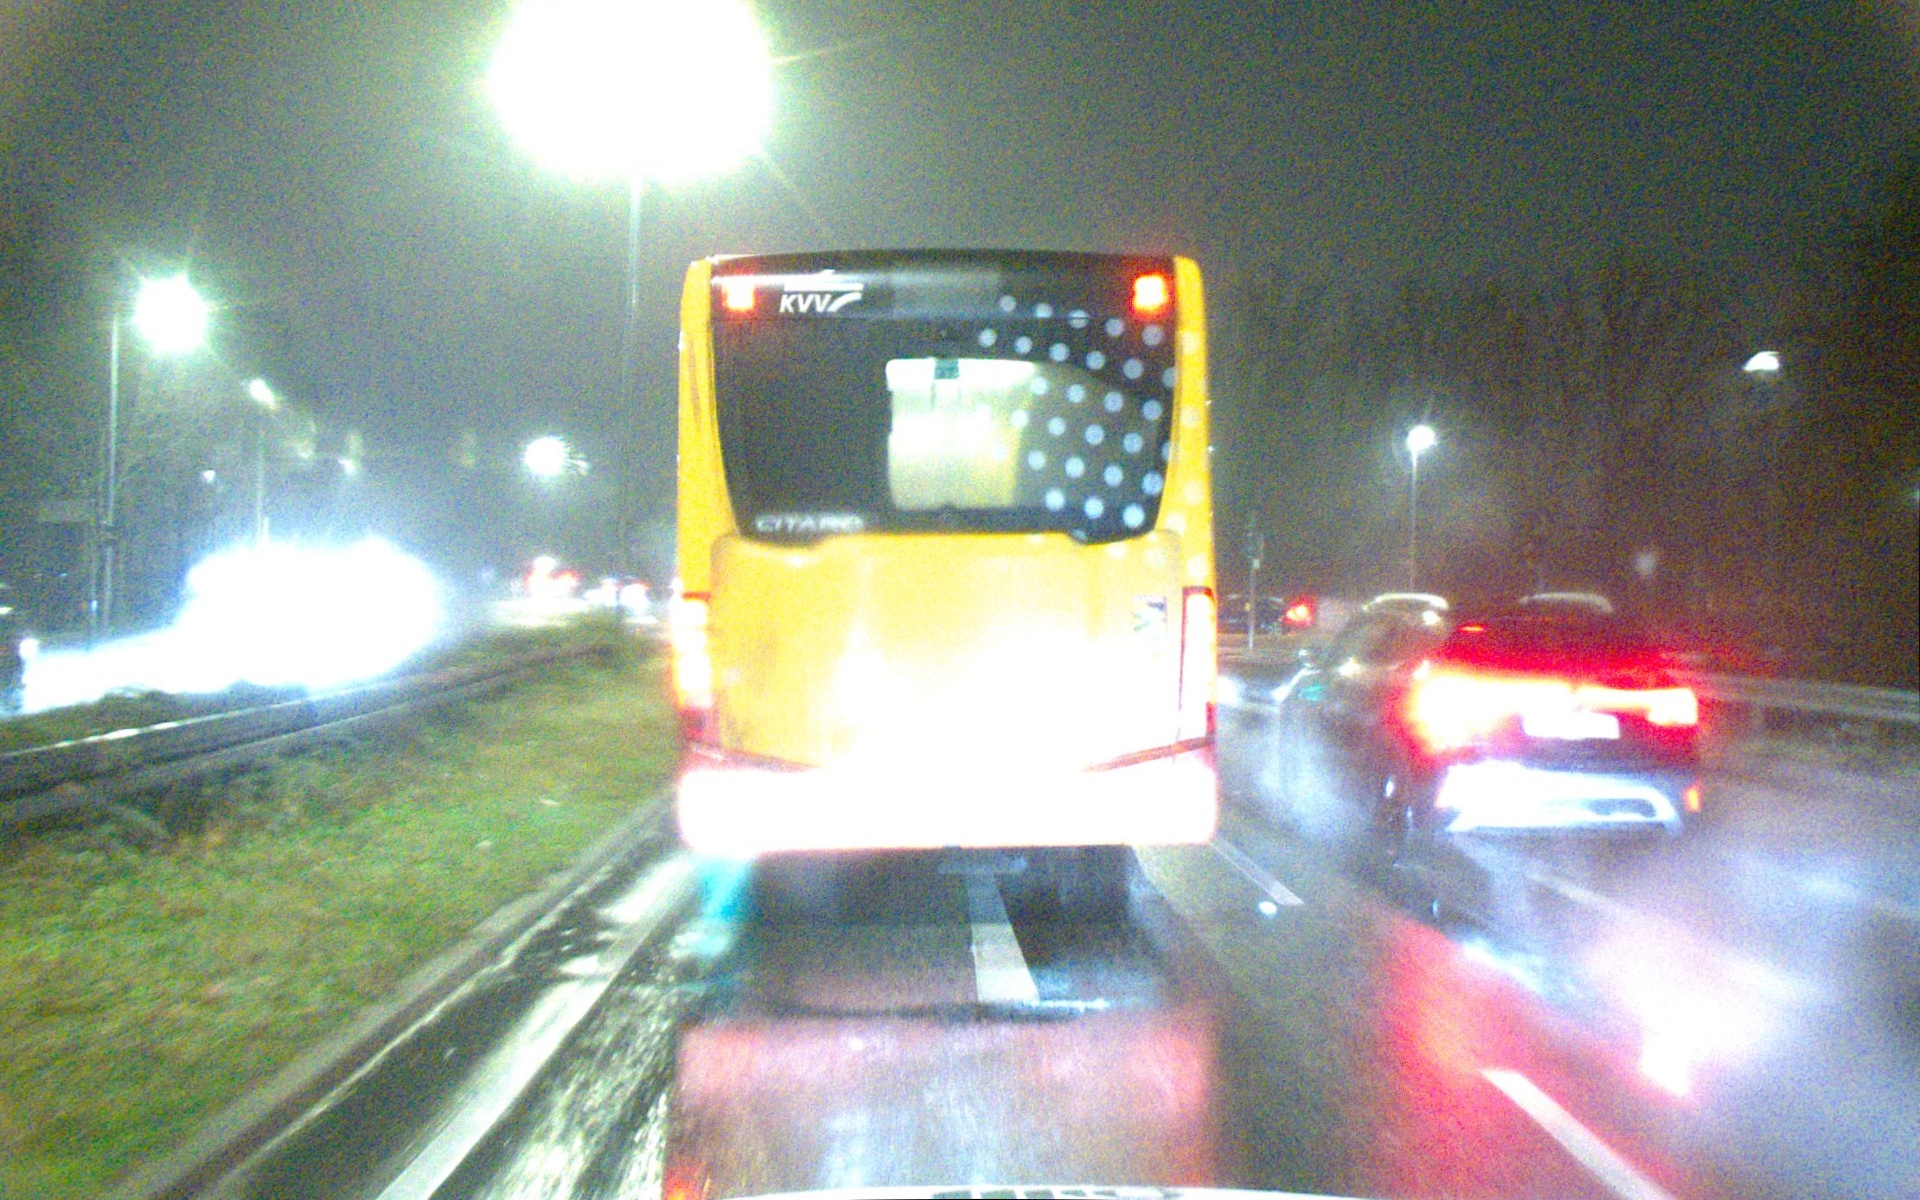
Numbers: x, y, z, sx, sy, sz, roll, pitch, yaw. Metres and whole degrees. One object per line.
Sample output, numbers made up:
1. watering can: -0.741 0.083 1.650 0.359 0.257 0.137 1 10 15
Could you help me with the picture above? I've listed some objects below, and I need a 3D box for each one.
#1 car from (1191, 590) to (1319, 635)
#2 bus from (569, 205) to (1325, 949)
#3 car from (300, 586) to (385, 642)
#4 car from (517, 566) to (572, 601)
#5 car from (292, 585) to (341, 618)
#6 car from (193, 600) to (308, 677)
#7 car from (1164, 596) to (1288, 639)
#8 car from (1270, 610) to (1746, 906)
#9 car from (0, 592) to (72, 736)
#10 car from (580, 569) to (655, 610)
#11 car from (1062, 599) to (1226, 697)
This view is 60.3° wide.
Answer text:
1. car: 11.128 0.475 62.512 4.398 1.545 1.854 1 1 -8
2. bus: -0.381 -0.191 11.798 3.220 3.103 9.536 0 1 -4
3. car: -18.828 0.409 50.589 1.743 1.621 4.547 -1 0 -12
4. car: -21.530 -0.830 85.611 1.969 1.751 3.966 1 -1 -26
5. car: -30.965 0.072 79.495 1.721 1.528 3.962 1 -1 -28
6. car: -16.039 0.830 37.549 1.817 1.598 3.495 0 1 -14
7. car: 9.340 0.610 58.216 3.966 1.369 1.744 1 1 -8
8. car: 3.288 0.863 10.764 1.643 1.548 3.958 1 -1 -2
9. car: -12.004 0.744 18.993 1.732 1.659 4.244 1 0 -7
10. car: -14.966 -0.437 72.148 2.069 1.672 3.689 2 -1 -32
11. car: 2.753 0.705 25.584 1.654 1.353 3.954 2 -1 -7
